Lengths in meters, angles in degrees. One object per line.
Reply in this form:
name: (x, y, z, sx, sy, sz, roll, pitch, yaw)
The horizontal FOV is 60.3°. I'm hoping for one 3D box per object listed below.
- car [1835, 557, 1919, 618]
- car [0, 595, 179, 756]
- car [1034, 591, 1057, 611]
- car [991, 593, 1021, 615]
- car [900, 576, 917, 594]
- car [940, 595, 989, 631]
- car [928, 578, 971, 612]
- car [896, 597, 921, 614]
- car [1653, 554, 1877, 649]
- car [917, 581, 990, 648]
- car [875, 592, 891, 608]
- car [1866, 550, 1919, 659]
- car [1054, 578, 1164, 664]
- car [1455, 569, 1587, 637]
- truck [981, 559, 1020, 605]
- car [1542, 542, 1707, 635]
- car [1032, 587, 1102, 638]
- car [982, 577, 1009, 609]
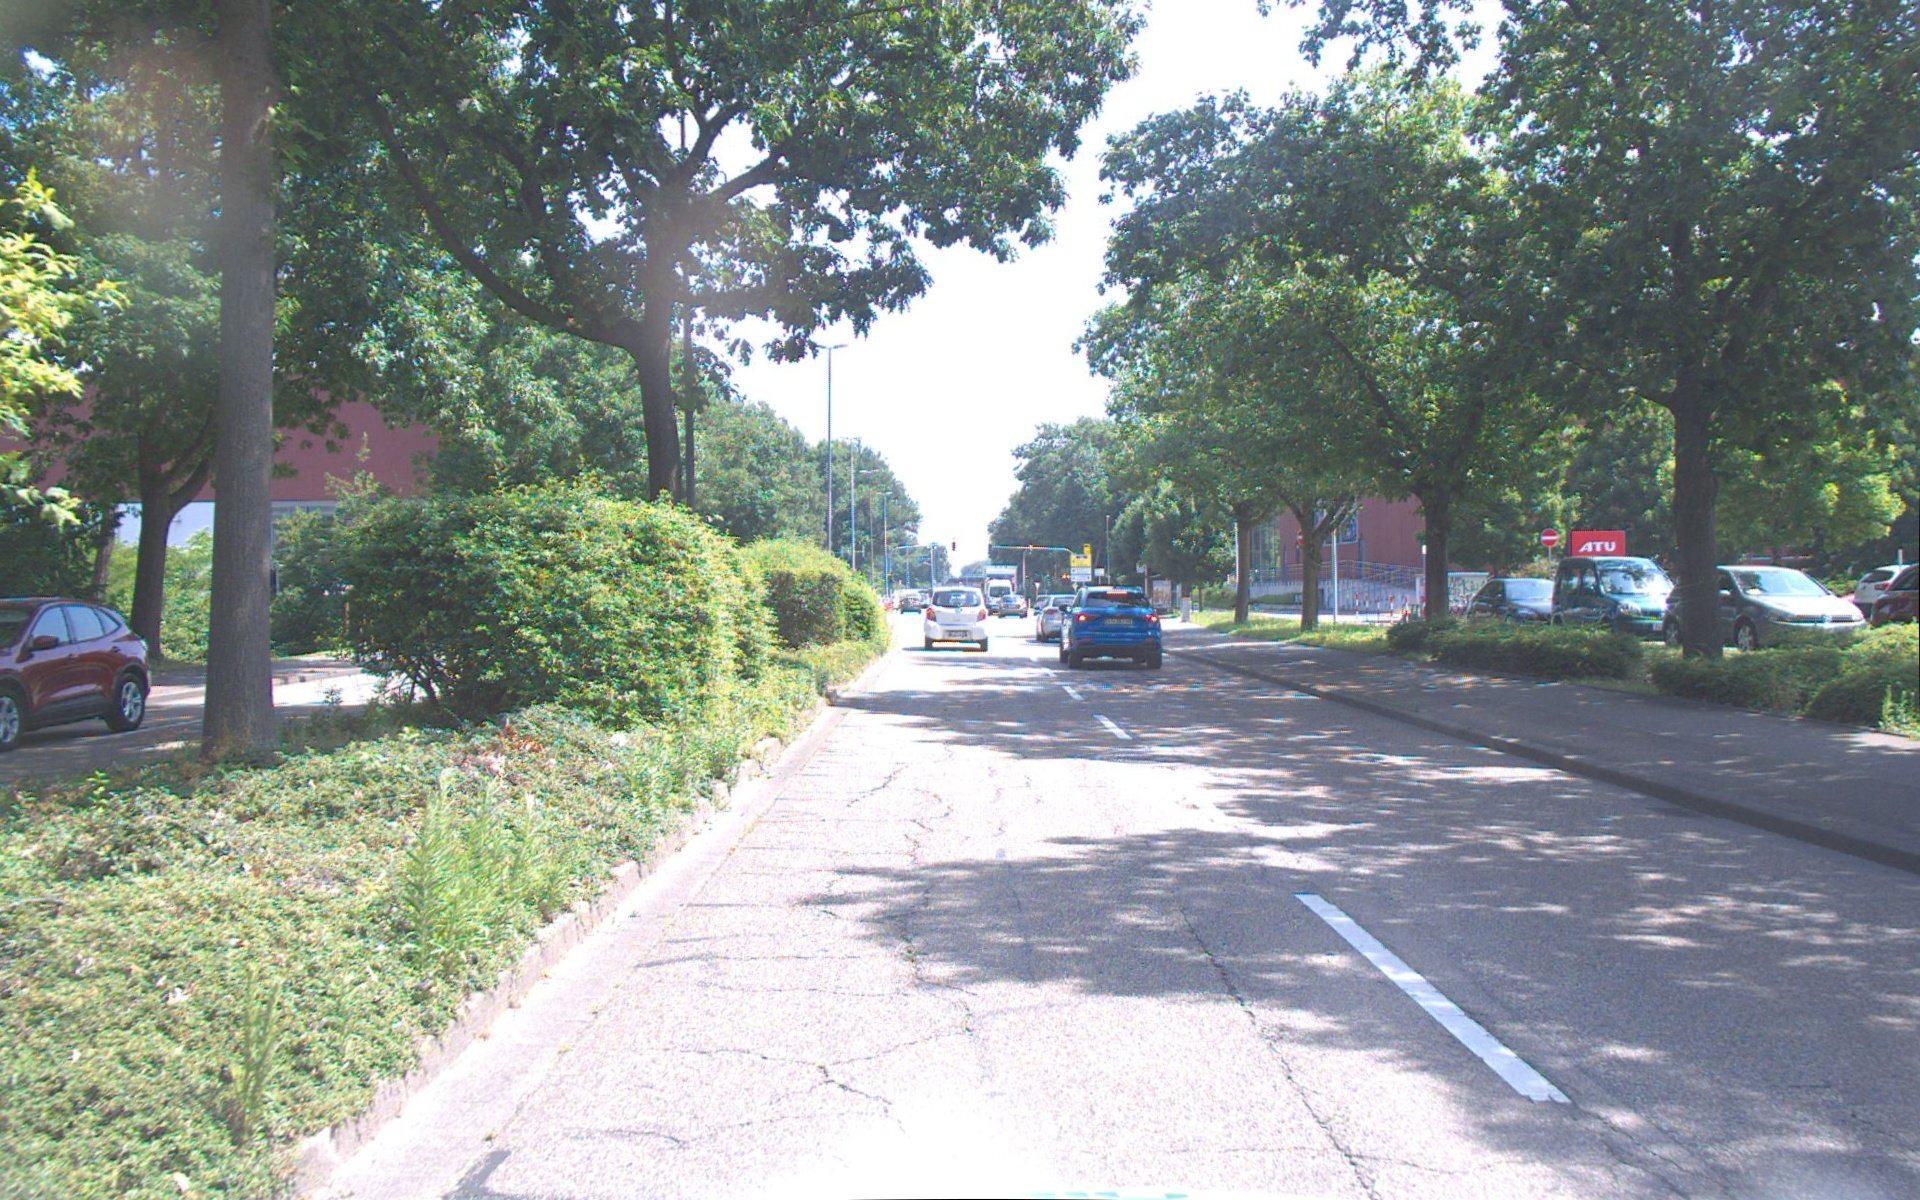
car: (24.325, -0.351, 41.301, 3.907, 1.467, 1.942, -1, 0, -2)
car: (-11.008, 0.829, 19.061, 1.784, 1.664, 4.520, -3, 1, 0)
car: (6.746, 0.081, 130.970, 1.599, 1.489, 4.000, -1, 0, 0)
car: (3.028, 0.266, 110.054, 1.828, 1.333, 3.999, -2, 0, -1)
car: (-5.956, -1.736, 191.489, 1.953, 2.049, 3.999, -1, 0, -2)
car: (0.166, 0.510, 64.599, 1.846, 1.378, 4.000, 0, 0, 0)
car: (-0.515, -0.230, 78.601, 1.759, 1.550, 3.996, 0, 0, -4)
car: (-4.385, 0.465, 140.829, 1.953, 1.310, 4.000, -1, 0, 0)
car: (12.877, 0.002, 26.722, 1.666, 1.404, 3.905, -1, 0, -1)
car: (-0.194, 0.358, 41.380, 1.606, 1.579, 3.322, 0, 0, -4)
car: (-6.849, 0.013, 147.128, 1.341, 1.331, 2.692, -1, 0, -3)
car: (13.246, 0.056, 20.460, 1.666, 1.404, 4.323, -1, 0, -1)
car: (2.954, 0.418, 33.552, 1.772, 1.620, 4.348, 0, 0, -1)
car: (12.741, 0.074, 37.848, 1.665, 1.449, 4.655, -1, 0, 3)
truck: (3.264, -1.442, 136.232, 2.872, 3.563, 9.157, -1, 0, 0)
car: (12.782, -0.198, 32.060, 1.665, 1.666, 3.906, -1, 0, 1)
car: (3.210, 0.373, 50.394, 1.828, 1.499, 3.999, 0, 0, -1)
car: (2.698, -0.542, 125.820, 1.953, 2.295, 4.000, -1, 0, 0)
